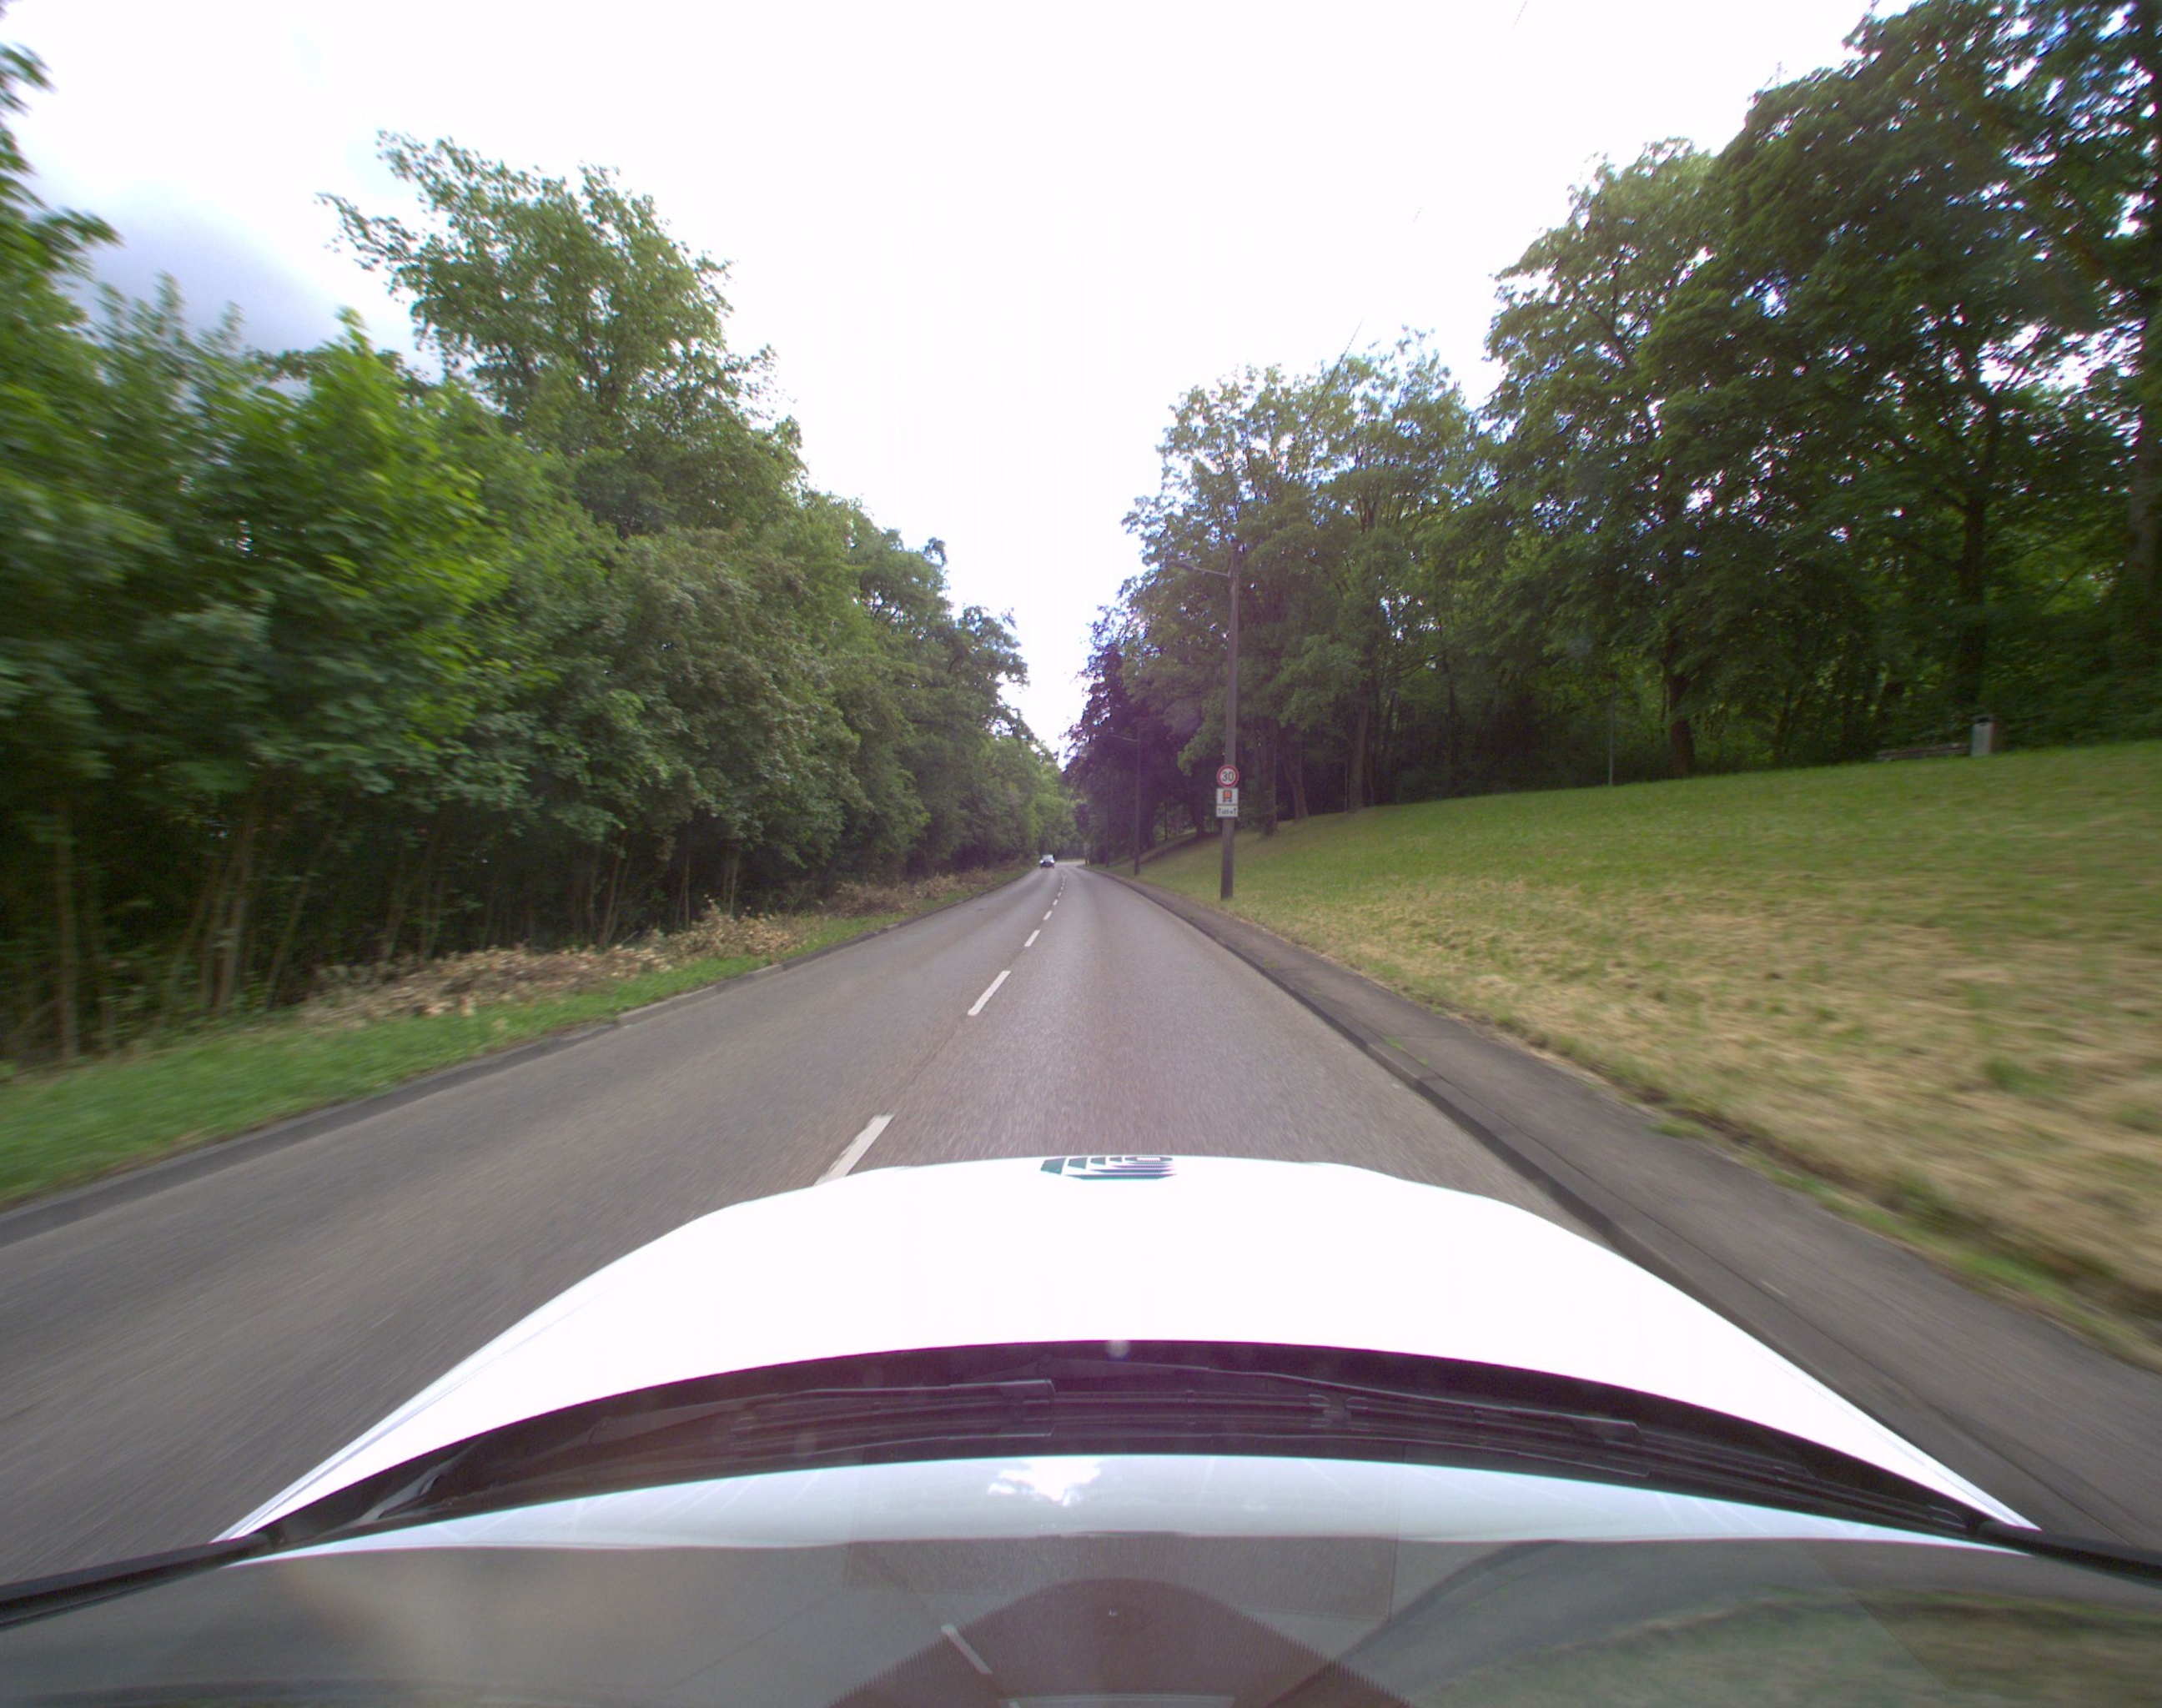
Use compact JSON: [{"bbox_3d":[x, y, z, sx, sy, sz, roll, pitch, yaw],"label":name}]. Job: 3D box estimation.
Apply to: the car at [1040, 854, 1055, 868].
[{"bbox_3d":[-4.699,0.977,114.597,1.988,1.948,4.942,0,-1,-1],"label":"car"}]
